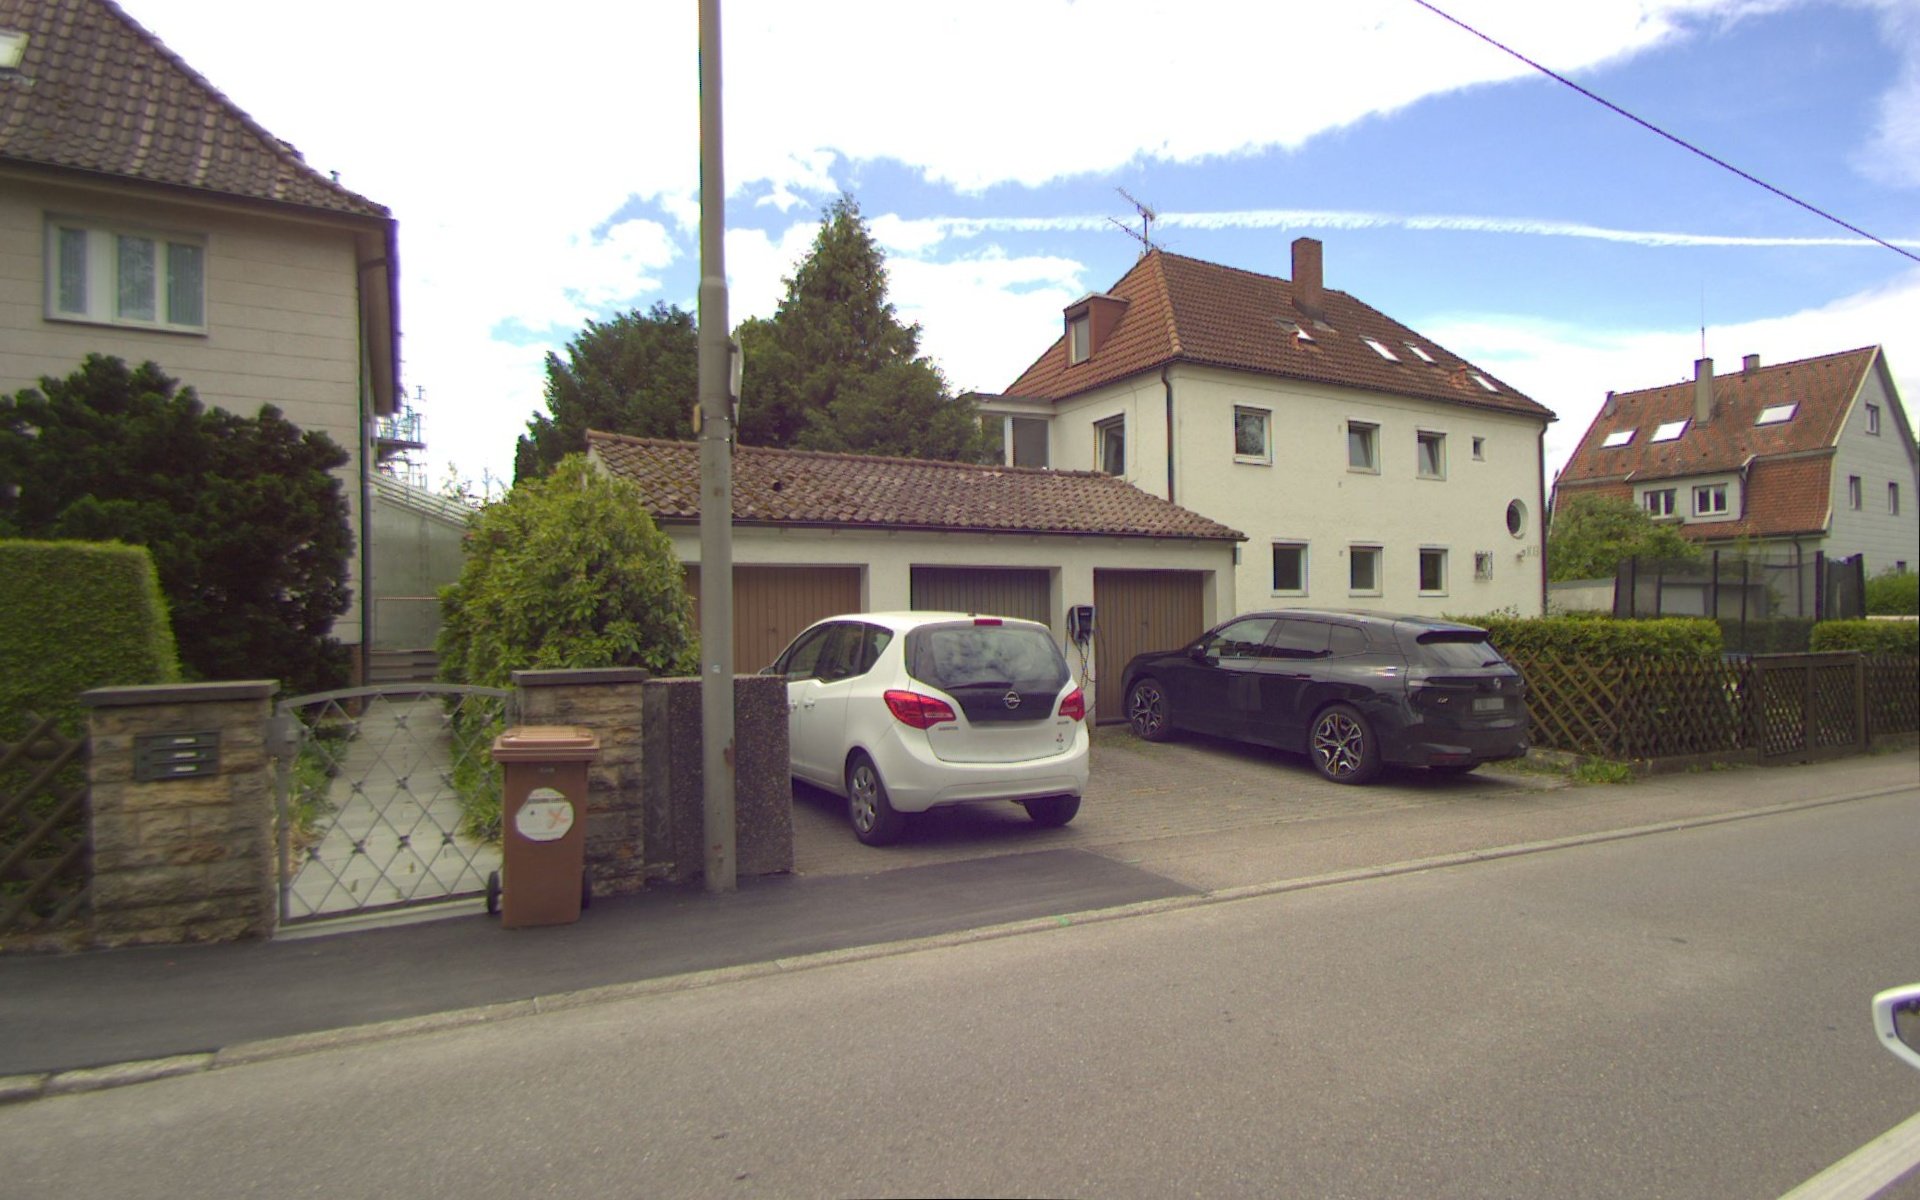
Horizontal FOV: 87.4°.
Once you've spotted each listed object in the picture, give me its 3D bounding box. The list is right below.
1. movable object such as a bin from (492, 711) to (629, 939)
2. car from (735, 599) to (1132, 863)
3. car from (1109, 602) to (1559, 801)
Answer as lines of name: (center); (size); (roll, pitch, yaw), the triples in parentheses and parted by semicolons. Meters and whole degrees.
movable object such as a bin: (-1.998, 1.067, 4.990); (0.564, 0.966, 0.685); (1, -2, -27)
car: (-0.486, 0.846, 8.488); (1.698, 1.615, 3.969); (2, 0, -29)
car: (3.890, 0.926, 11.385); (1.861, 1.692, 4.647); (2, 0, -30)
